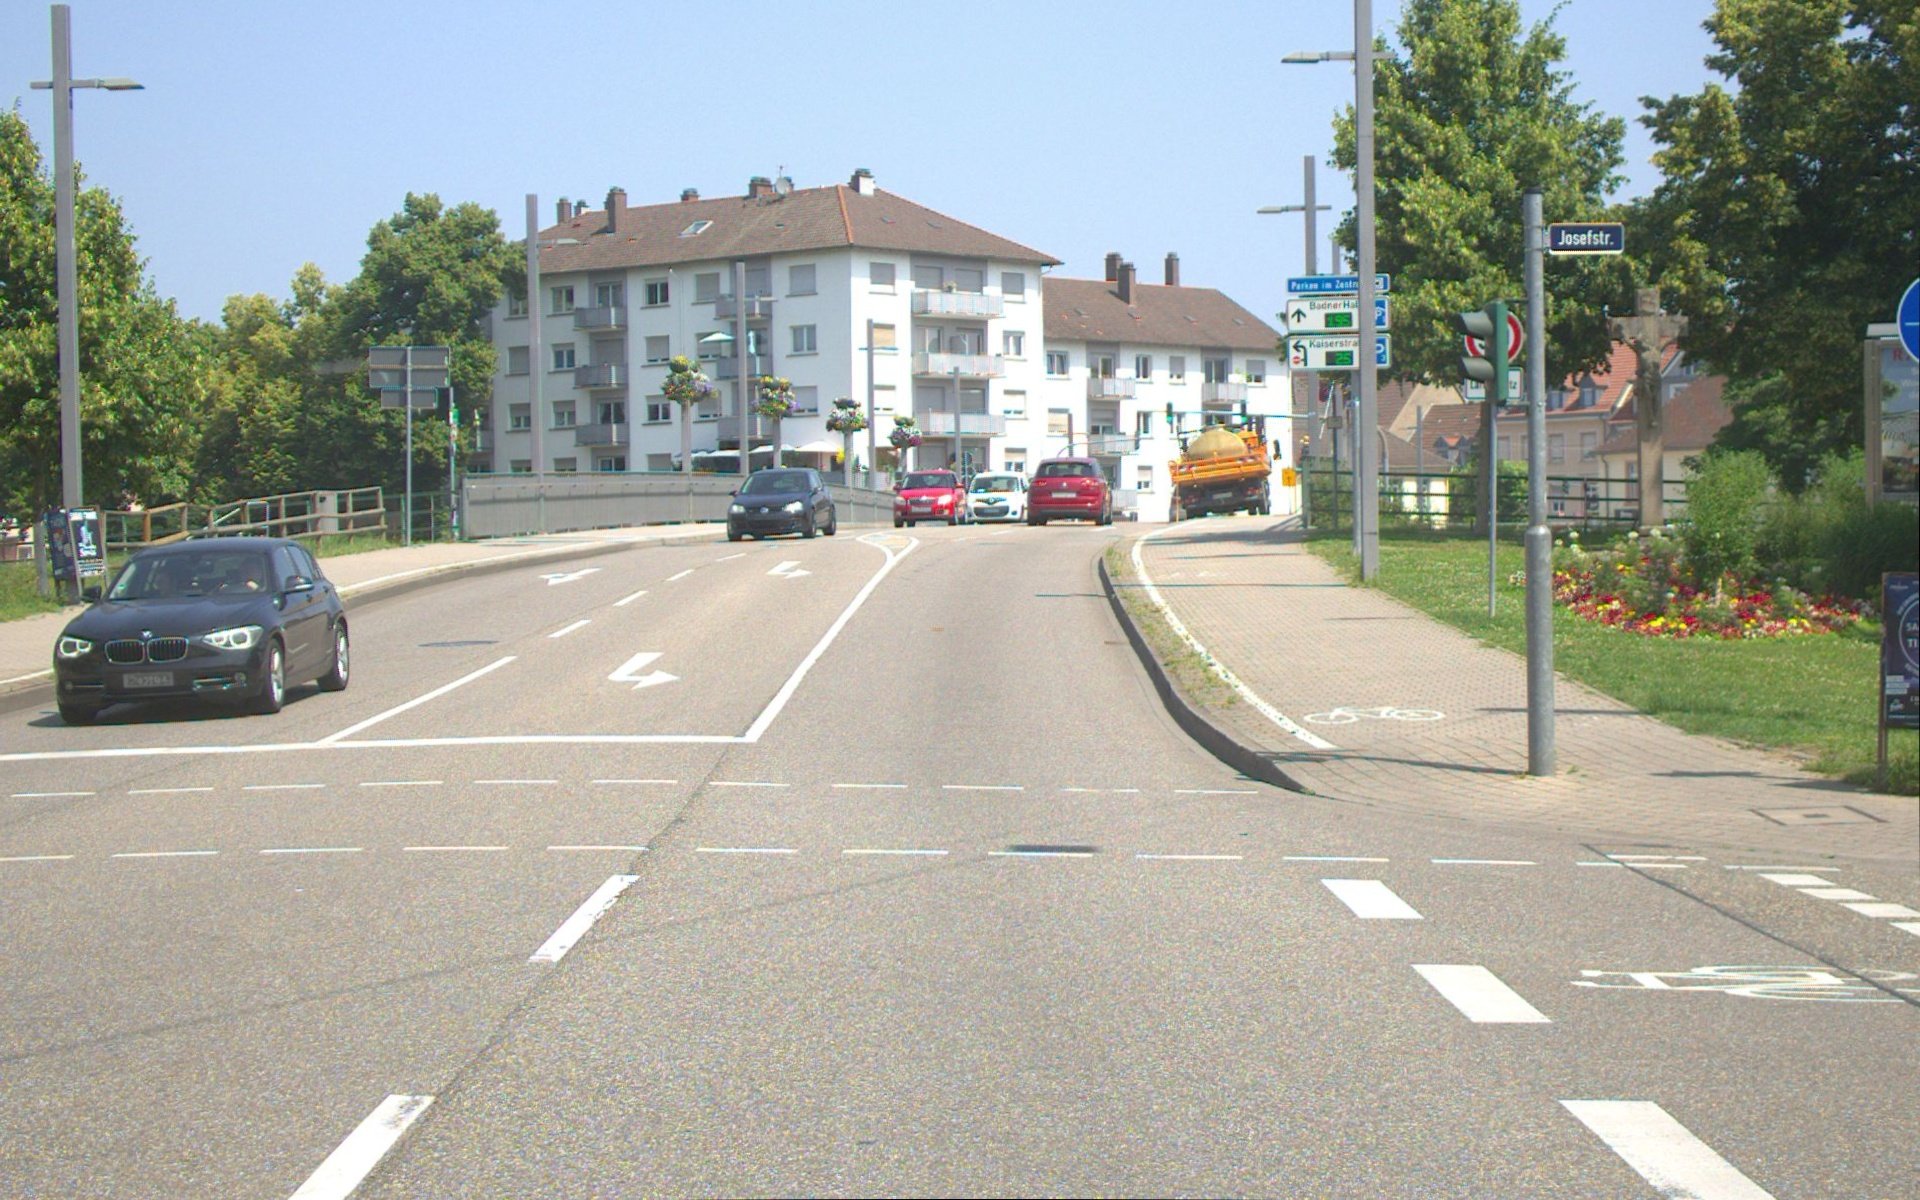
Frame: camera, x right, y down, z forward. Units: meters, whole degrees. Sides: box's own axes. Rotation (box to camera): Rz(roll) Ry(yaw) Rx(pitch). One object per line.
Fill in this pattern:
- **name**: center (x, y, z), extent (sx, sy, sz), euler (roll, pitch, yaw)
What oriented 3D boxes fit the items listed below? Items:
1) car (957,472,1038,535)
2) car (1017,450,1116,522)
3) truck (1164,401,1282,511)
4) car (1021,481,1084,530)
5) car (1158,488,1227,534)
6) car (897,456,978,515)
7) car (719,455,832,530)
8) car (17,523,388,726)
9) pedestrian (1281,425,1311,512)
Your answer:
- **car**: center (1.199, -3.017, 108.073), extent (1.837, 1.854, 4.661), euler (-2, 1, 9)
- **car**: center (2.538, -2.666, 81.074), extent (1.990, 1.607, 4.342), euler (-1, 1, 6)
- **truck**: center (6.835, -3.689, 88.747), extent (2.606, 2.682, 5.821), euler (-1, 1, 8)
- **car**: center (3.396, -3.458, 125.698), extent (1.737, 1.635, 3.920), euler (-4, 1, 8)
- **car**: center (7.851, -2.983, 115.780), extent (2.038, 1.498, 4.416), euler (1, 1, 7)
- **car**: center (-0.565, -3.005, 90.666), extent (1.647, 1.459, 3.860), euler (0, 1, 7)
- **car**: center (-3.809, -2.218, 71.527), extent (1.714, 1.480, 4.030), euler (1, 1, 6)
- **car**: center (-6.260, 0.153, 28.880), extent (1.836, 1.394, 4.050), euler (-3, 2, 5)
- **pedestrian**: center (7.653, -3.001, 78.362), extent (0.546, 1.953, 0.673), euler (-1, 0, -4)
